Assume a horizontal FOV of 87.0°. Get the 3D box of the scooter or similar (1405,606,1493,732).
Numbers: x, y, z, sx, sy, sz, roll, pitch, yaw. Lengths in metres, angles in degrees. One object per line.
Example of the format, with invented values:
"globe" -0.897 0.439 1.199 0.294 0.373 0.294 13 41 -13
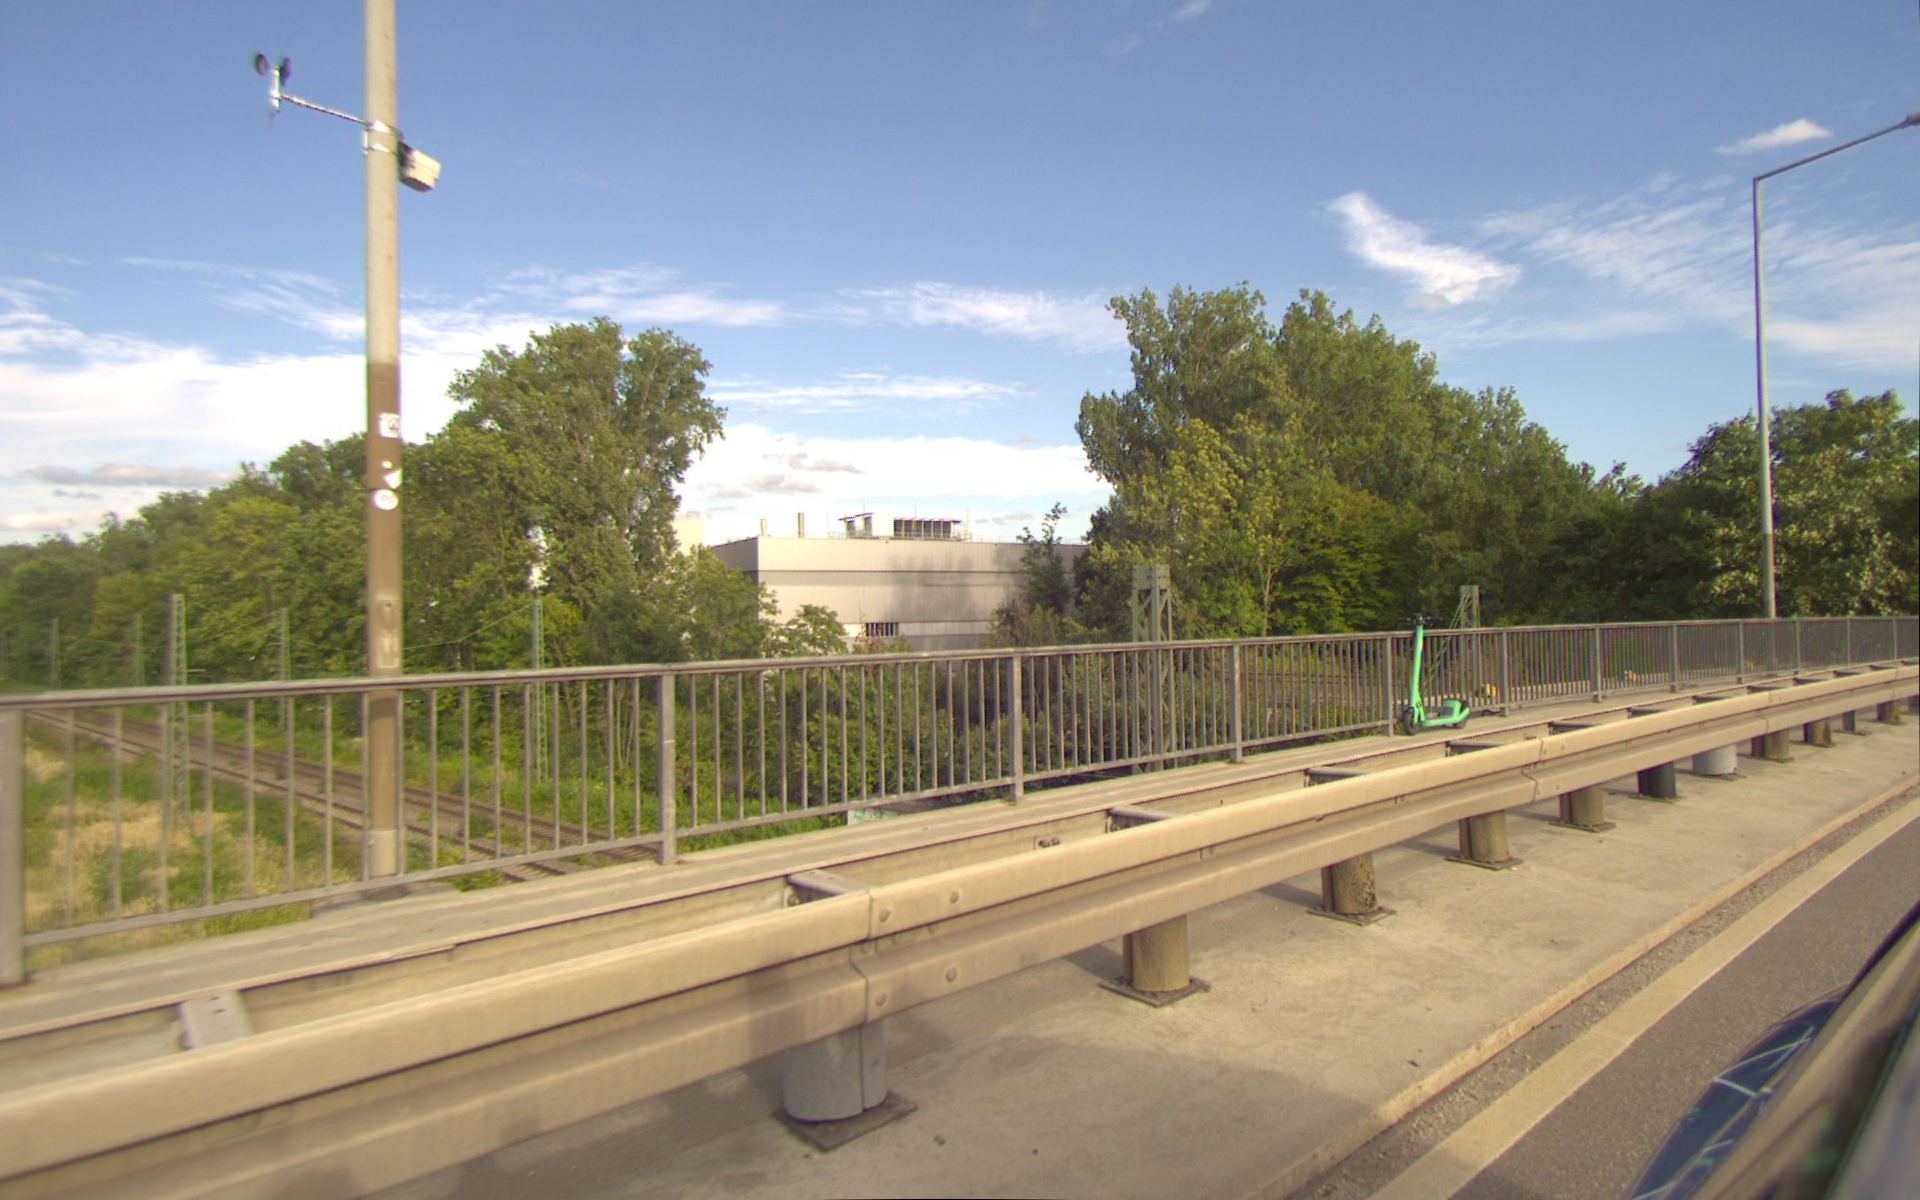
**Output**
"scooter or similar" 4.849 0.654 10.008 1.166 1.176 0.266 0 1 -37
